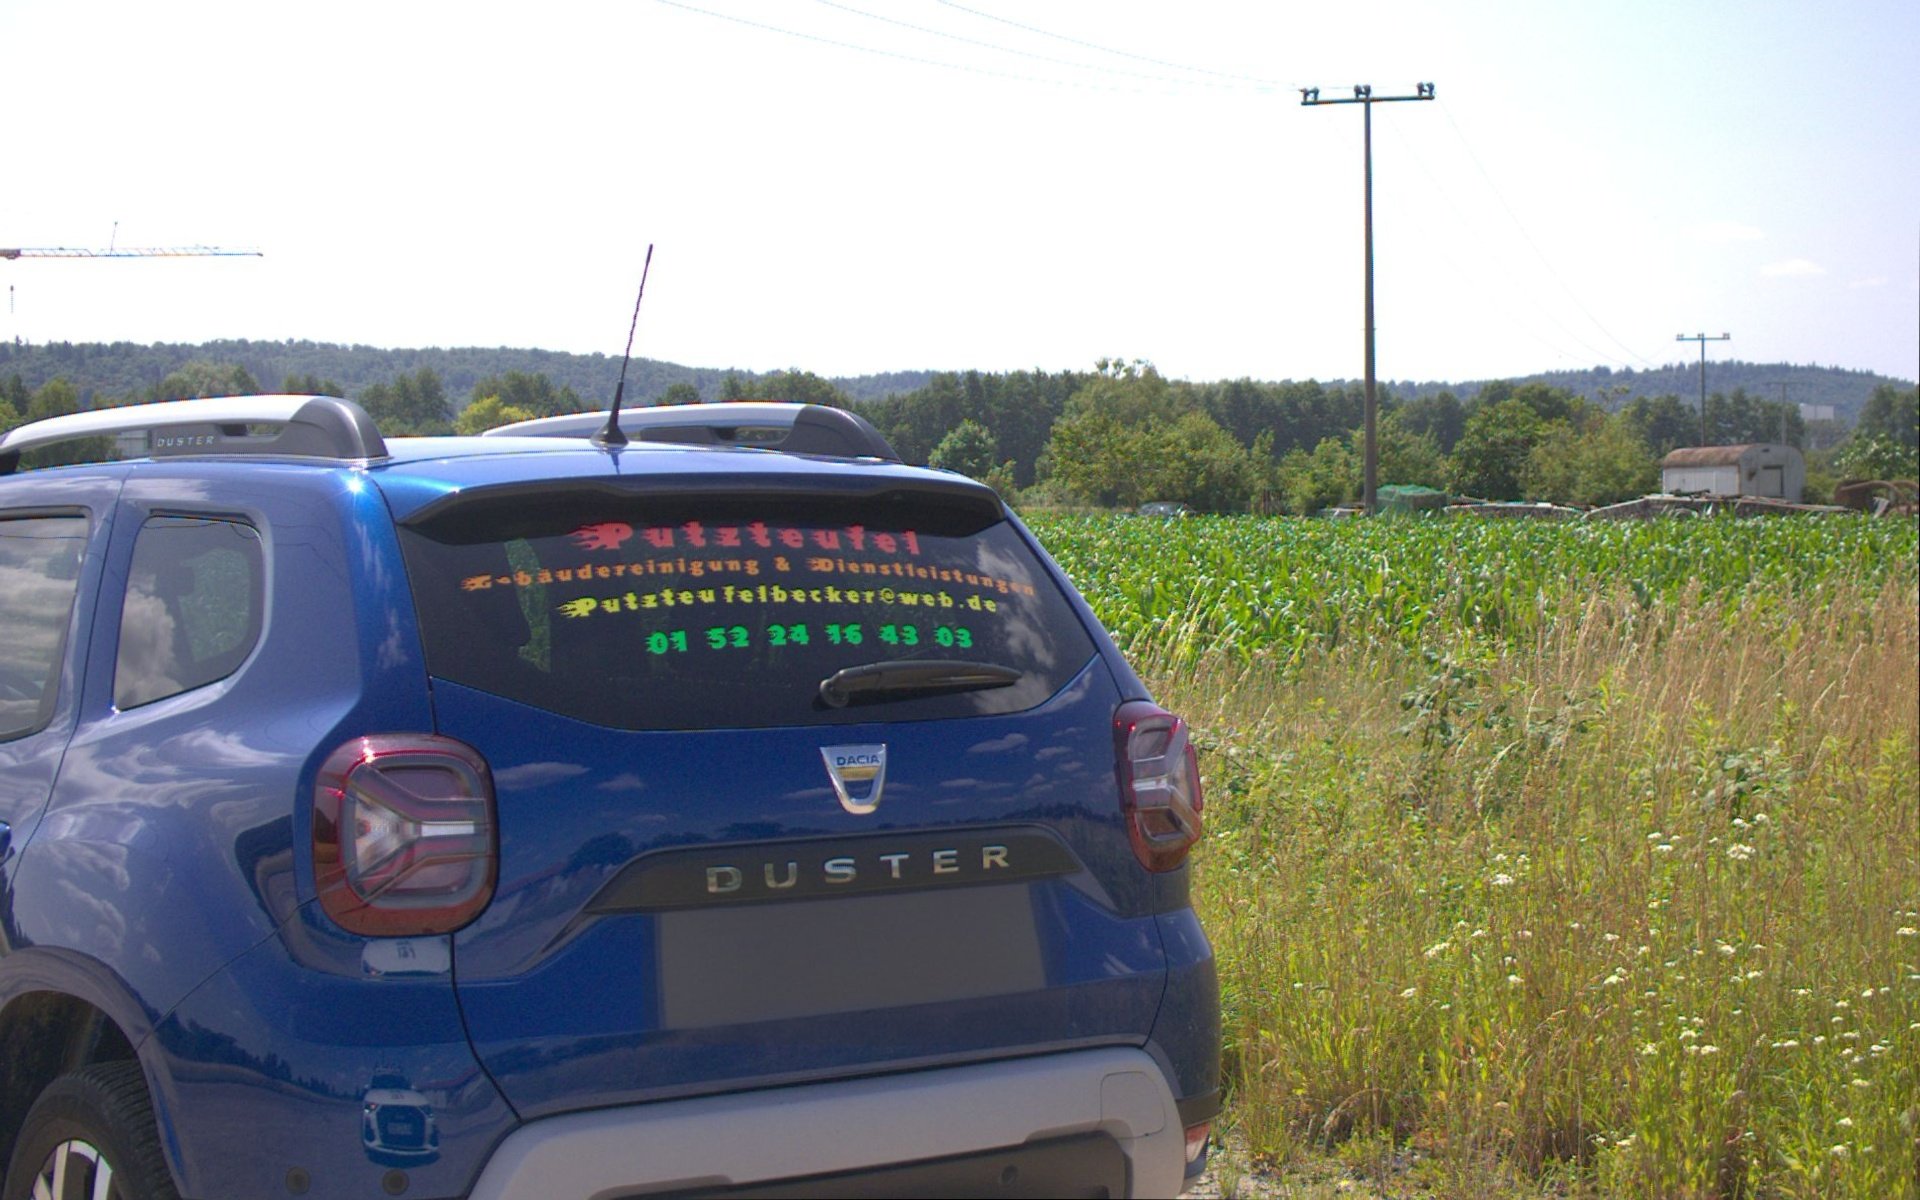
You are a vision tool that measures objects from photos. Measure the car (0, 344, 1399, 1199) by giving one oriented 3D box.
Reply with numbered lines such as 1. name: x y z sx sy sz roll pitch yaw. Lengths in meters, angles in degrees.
1. car: -1.398 0.494 6.506 1.859 1.655 4.458 -1 1 -36
